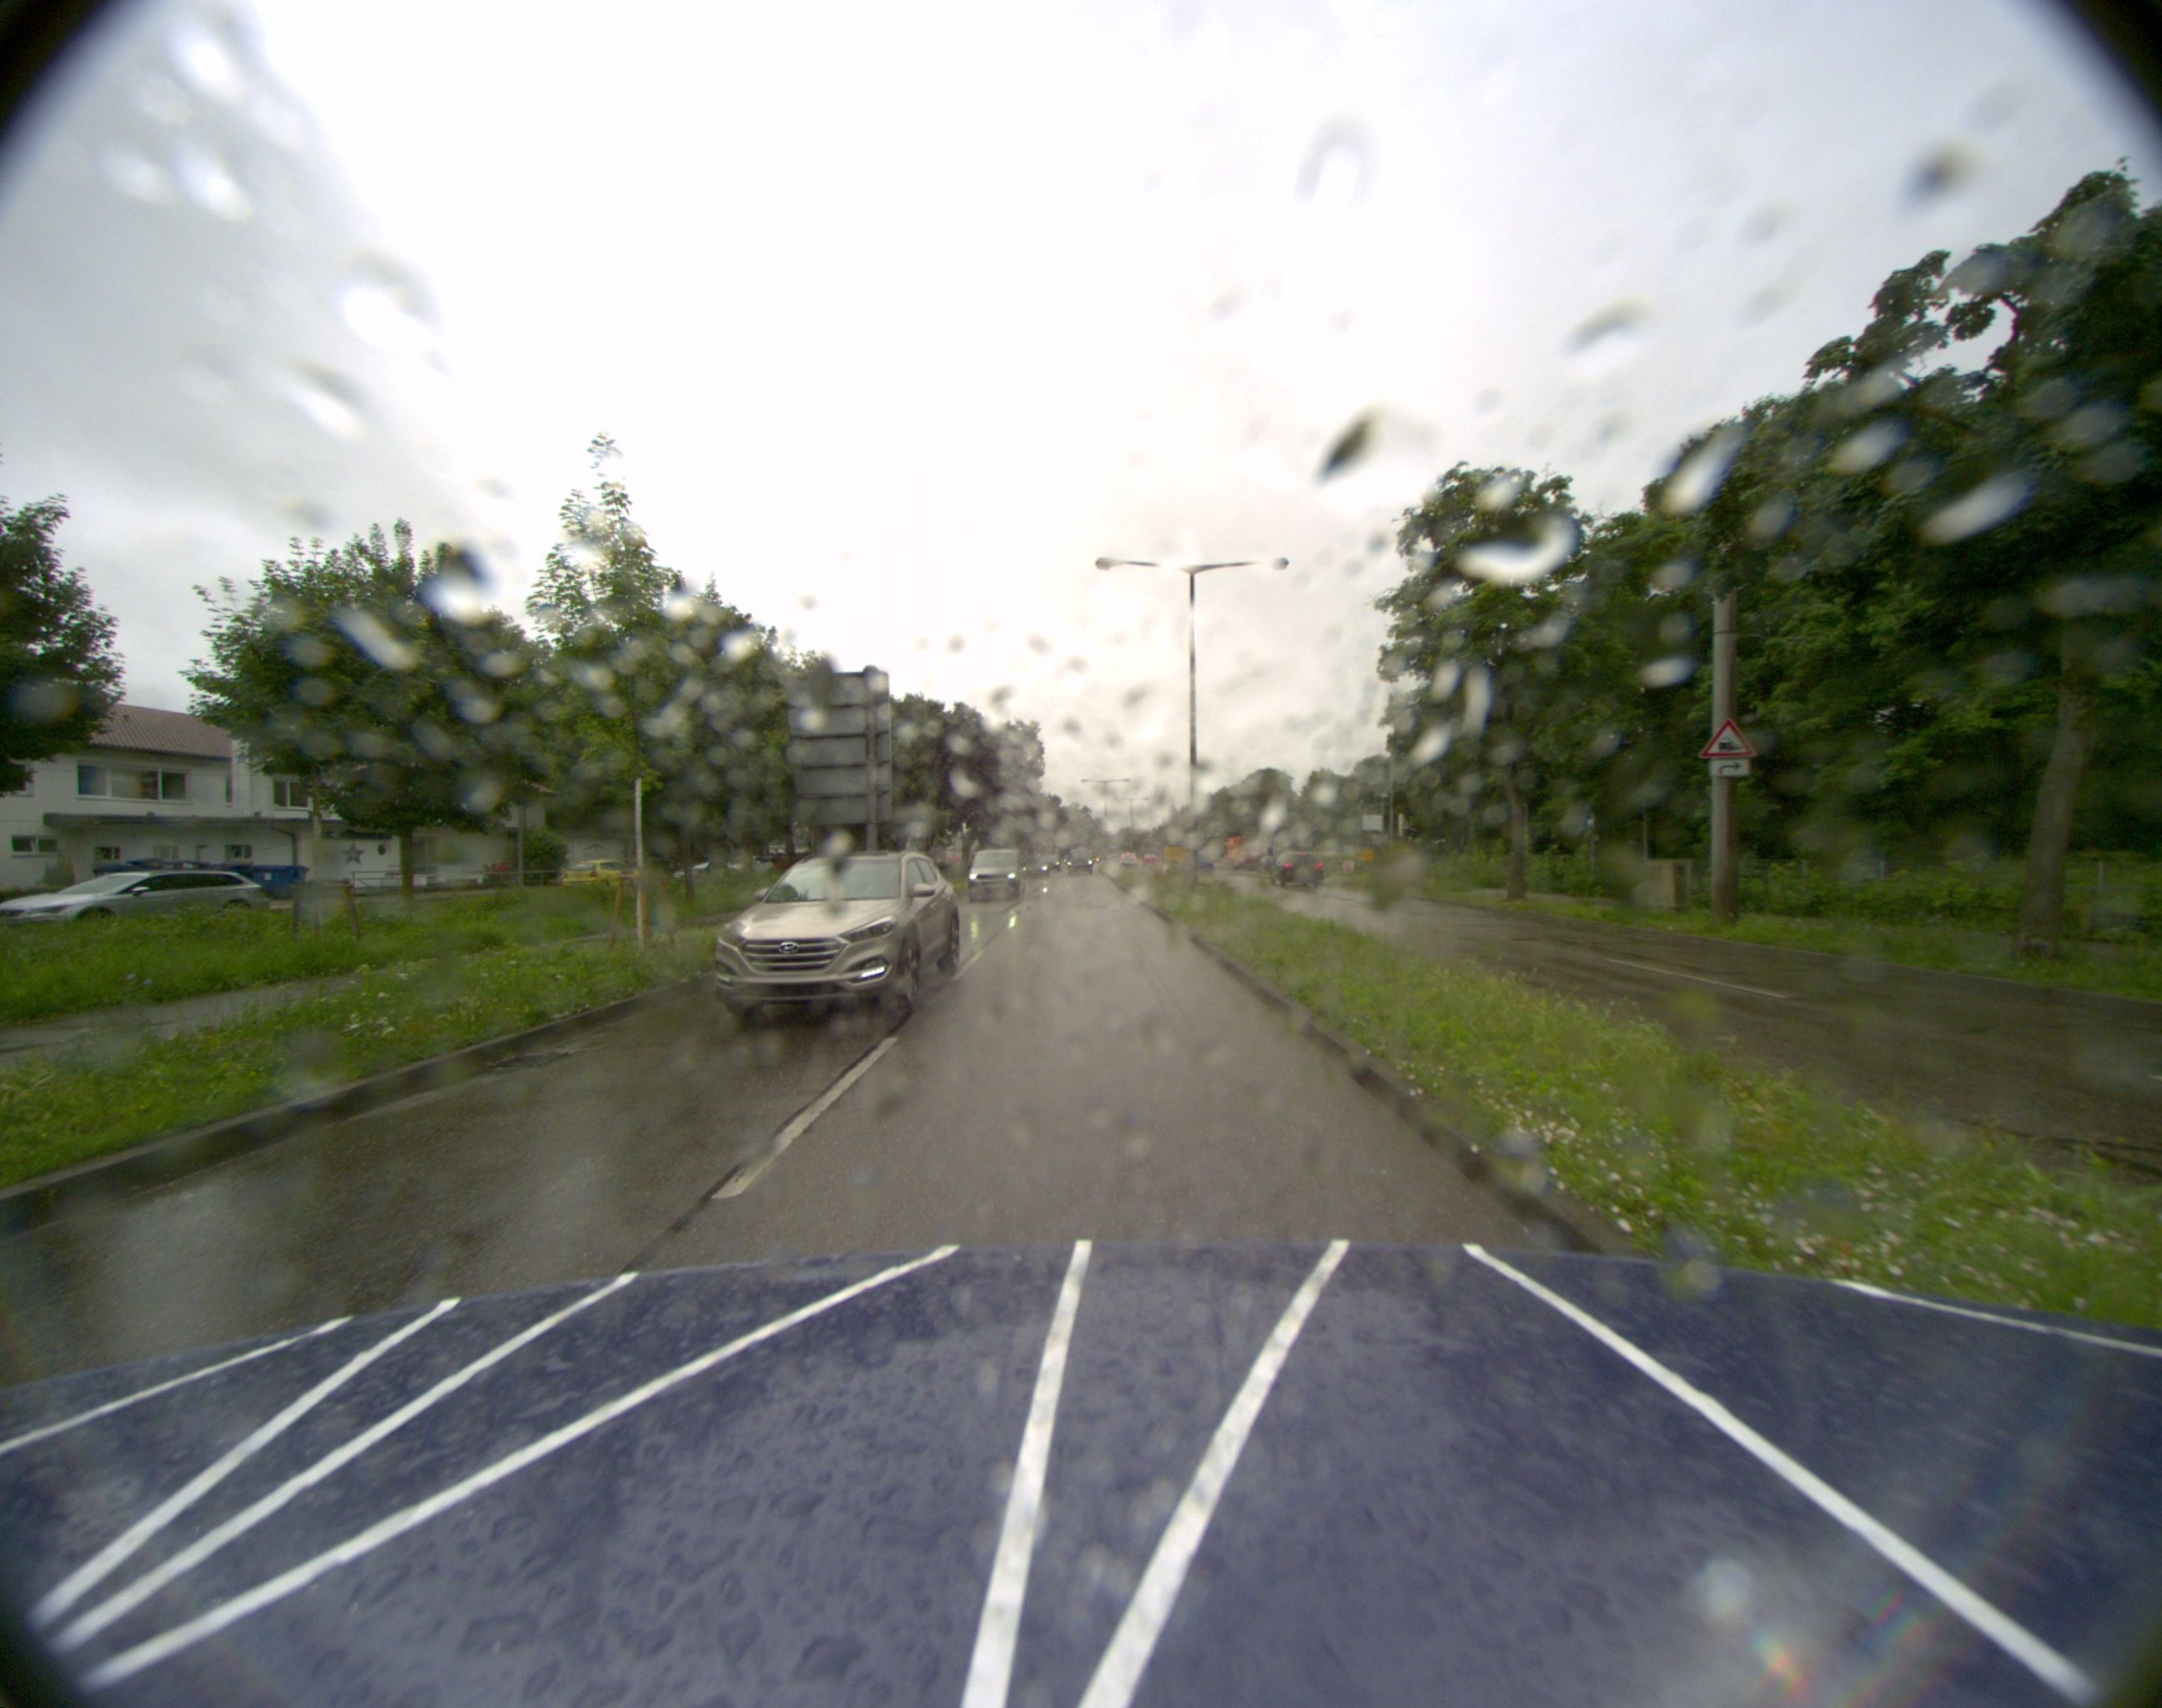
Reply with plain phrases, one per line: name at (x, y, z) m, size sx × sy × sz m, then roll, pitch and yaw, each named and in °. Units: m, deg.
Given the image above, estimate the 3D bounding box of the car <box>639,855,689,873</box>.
car at (-44.377, 1.071, 80.916) m, size 4.292 × 1.601 × 1.900 m, roll -3°, pitch 1°, yaw 3°

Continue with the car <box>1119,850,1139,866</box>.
car at (5.073, 0.421, 80.411) m, size 1.965 × 1.607 × 4.697 m, roll 0°, pitch 0°, yaw 2°

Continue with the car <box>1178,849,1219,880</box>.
car at (6.694, 0.569, 43.529) m, size 1.748 × 1.641 × 4.136 m, roll 1°, pitch 0°, yaw 1°

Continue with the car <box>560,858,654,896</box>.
car at (-21.329, 1.003, 34.402) m, size 1.641 × 1.477 × 4.072 m, roll -3°, pitch 1°, yaw 0°

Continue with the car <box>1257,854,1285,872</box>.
car at (16.109, 0.729, 64.616) m, size 1.591 × 1.371 × 3.686 m, roll 1°, pitch 1°, yaw 2°

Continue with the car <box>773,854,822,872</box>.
car at (-25.727, 0.781, 69.033) m, size 1.665 × 1.441 × 3.759 m, roll -2°, pitch 1°, yaw 41°

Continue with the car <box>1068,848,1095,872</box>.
car at (0.087, 0.413, 58.421) m, size 1.812 × 1.683 × 3.777 m, roll -3°, pitch 1°, yaw 3°

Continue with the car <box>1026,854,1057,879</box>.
car at (-2.771, 0.852, 54.148) m, size 1.858 × 1.583 × 4.000 m, roll -3°, pitch 1°, yaw 2°

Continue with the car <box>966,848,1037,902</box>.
car at (-2.888, 0.707, 28.622) m, size 1.998 × 1.785 × 4.562 m, roll -2°, pitch 1°, yaw 2°

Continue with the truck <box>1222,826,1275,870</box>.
truck at (17.074, -0.647, 78.133) m, size 3.393 × 4.143 × 10.406 m, roll -3°, pitch 1°, yaw 3°

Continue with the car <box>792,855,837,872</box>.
car at (-23.430, 0.841, 66.878) m, size 3.395 × 1.344 × 1.521 m, roll -3°, pitch 1°, yaw -43°

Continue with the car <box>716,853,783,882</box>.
car at (-20.744, 0.793, 47.813) m, size 1.998 × 1.707 × 4.878 m, roll 0°, pitch 1°, yaw 0°

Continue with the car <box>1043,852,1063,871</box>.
car at (-2.584, 0.650, 71.711) m, size 1.651 × 1.652 × 3.776 m, roll -2°, pitch 1°, yaw 1°

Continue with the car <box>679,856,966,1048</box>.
car at (-2.636, 0.889, 8.921) m, size 1.889 × 1.601 × 4.195 m, roll -2°, pitch 1°, yaw 0°

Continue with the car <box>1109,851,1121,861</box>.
car at (5.716, 0.260, 127.410) m, size 1.740 × 1.535 × 4.014 m, roll -1°, pitch 1°, yaw 5°

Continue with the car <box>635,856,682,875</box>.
car at (-33.052, 0.863, 59.578) m, size 1.576 × 1.308 × 3.701 m, roll -2°, pitch 1°, yaw 0°

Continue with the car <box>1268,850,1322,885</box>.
car at (10.449, 0.616, 37.457) m, size 1.710 × 1.632 × 4.332 m, roll 1°, pitch 0°, yaw 4°

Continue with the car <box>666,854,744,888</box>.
car at (-20.751, 0.884, 42.191) m, size 1.998 × 1.707 × 4.641 m, roll 0°, pitch 1°, yaw 0°

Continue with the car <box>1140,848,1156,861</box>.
car at (8.792, 0.042, 100.344) m, size 1.810 × 1.763 × 5.089 m, roll 1°, pitch 0°, yaw 2°

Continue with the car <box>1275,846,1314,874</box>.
car at (15.426, 0.400, 55.093) m, size 1.997 × 1.817 × 4.773 m, roll -2°, pitch 1°, yaw 8°

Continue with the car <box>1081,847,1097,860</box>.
car at (1.125, -0.079, 101.488) m, size 1.898 × 1.602 × 4.000 m, roll -3°, pitch 1°, yaw 3°

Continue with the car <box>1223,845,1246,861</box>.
car at (18.100, -0.101, 89.532) m, size 1.998 × 1.699 × 4.527 m, roll -3°, pitch 1°, yaw 3°

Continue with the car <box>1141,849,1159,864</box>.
car at (8.099, 0.272, 89.569) m, size 1.805 × 1.560 × 4.428 m, roll 1°, pitch 1°, yaw 2°

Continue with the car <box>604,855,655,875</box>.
car at (-35.318, 0.871, 59.551) m, size 1.587 × 1.377 × 3.999 m, roll -3°, pitch 1°, yaw 0°

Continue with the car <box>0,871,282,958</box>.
car at (-22.368, 1.298, 17.921) m, size 1.998 × 1.616 × 4.642 m, roll 0°, pitch 1°, yaw 2°
